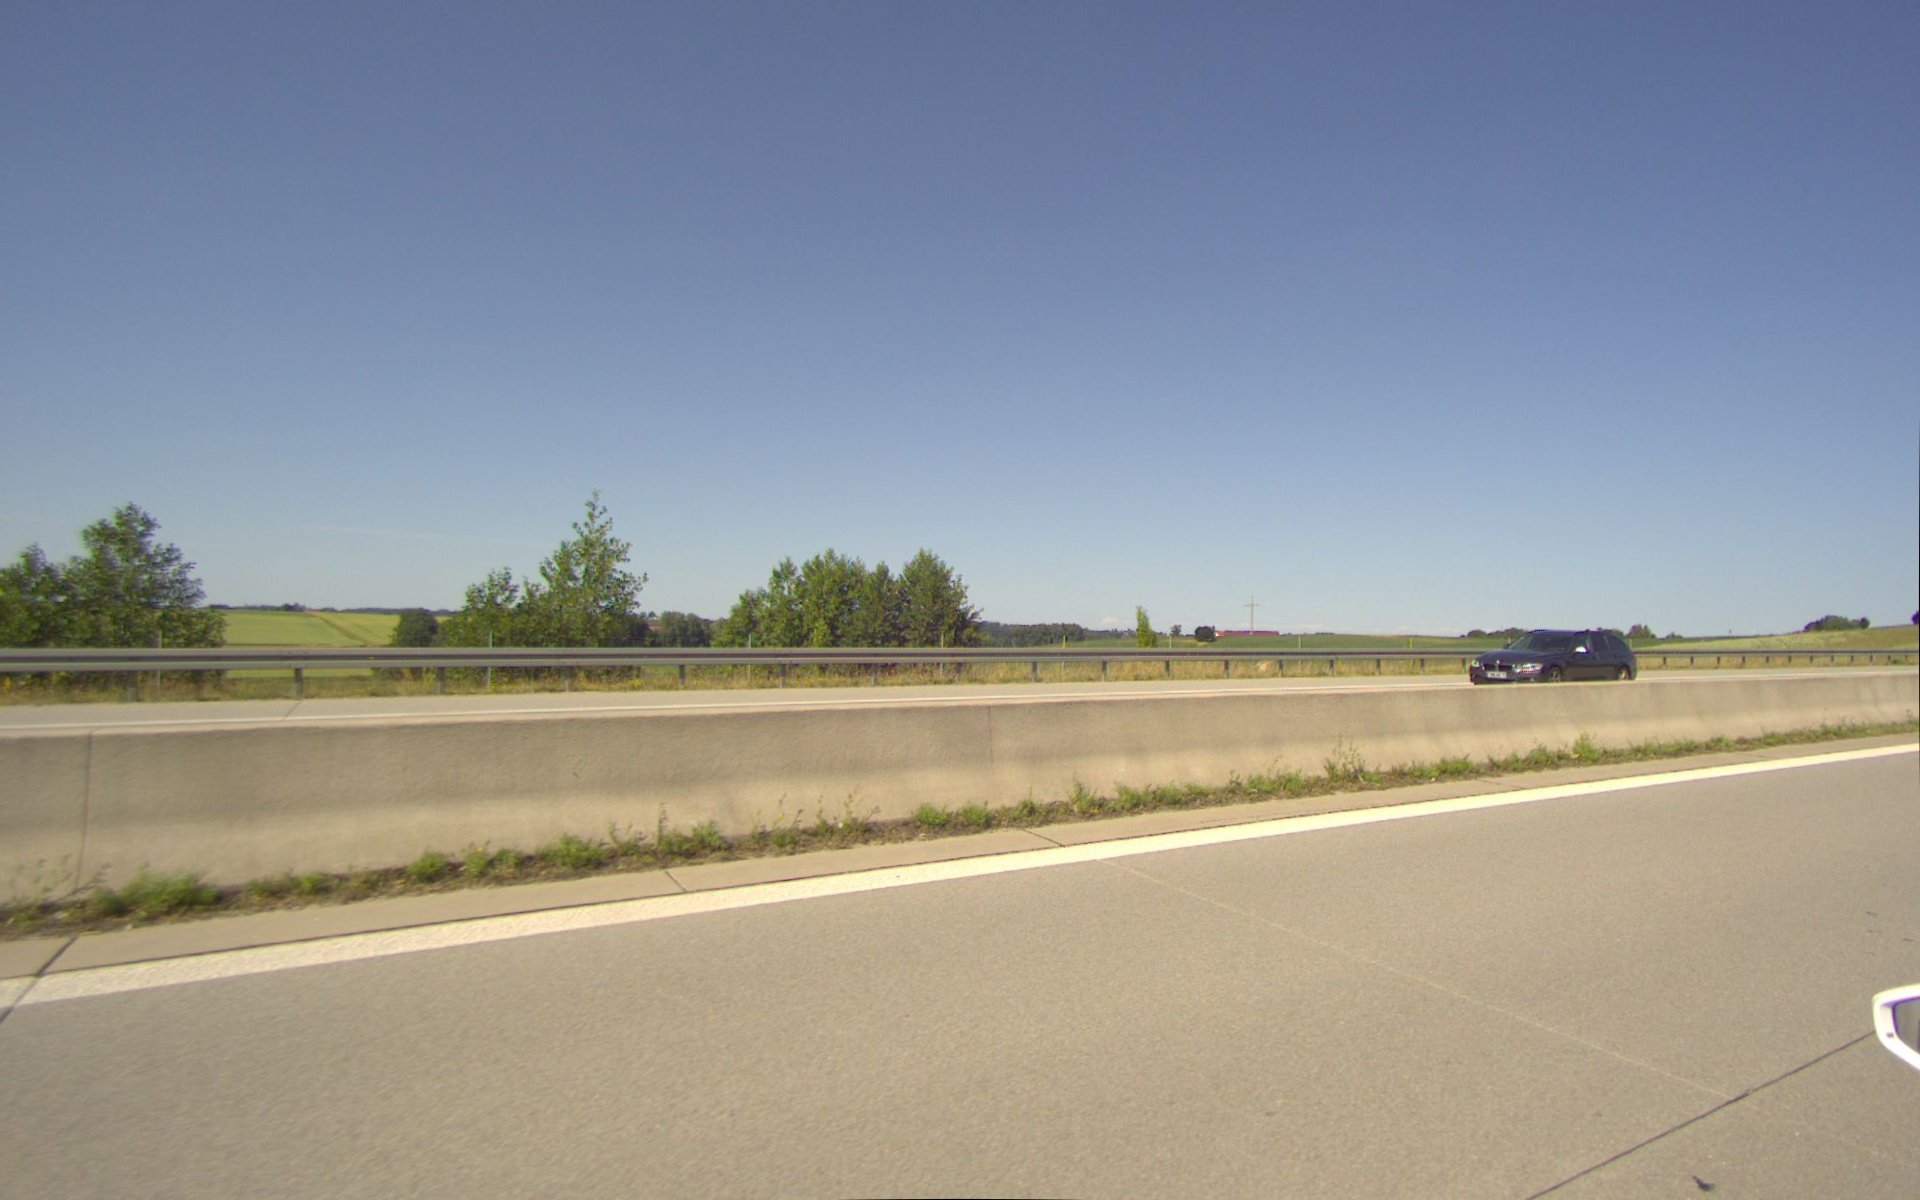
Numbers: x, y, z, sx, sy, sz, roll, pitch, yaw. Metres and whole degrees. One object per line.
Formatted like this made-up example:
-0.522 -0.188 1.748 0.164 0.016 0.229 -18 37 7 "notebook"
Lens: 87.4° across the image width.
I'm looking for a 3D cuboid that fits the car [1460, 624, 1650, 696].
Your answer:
13.763 1.364 23.190 4.458 1.476 1.804 2 0 -30 "car"
